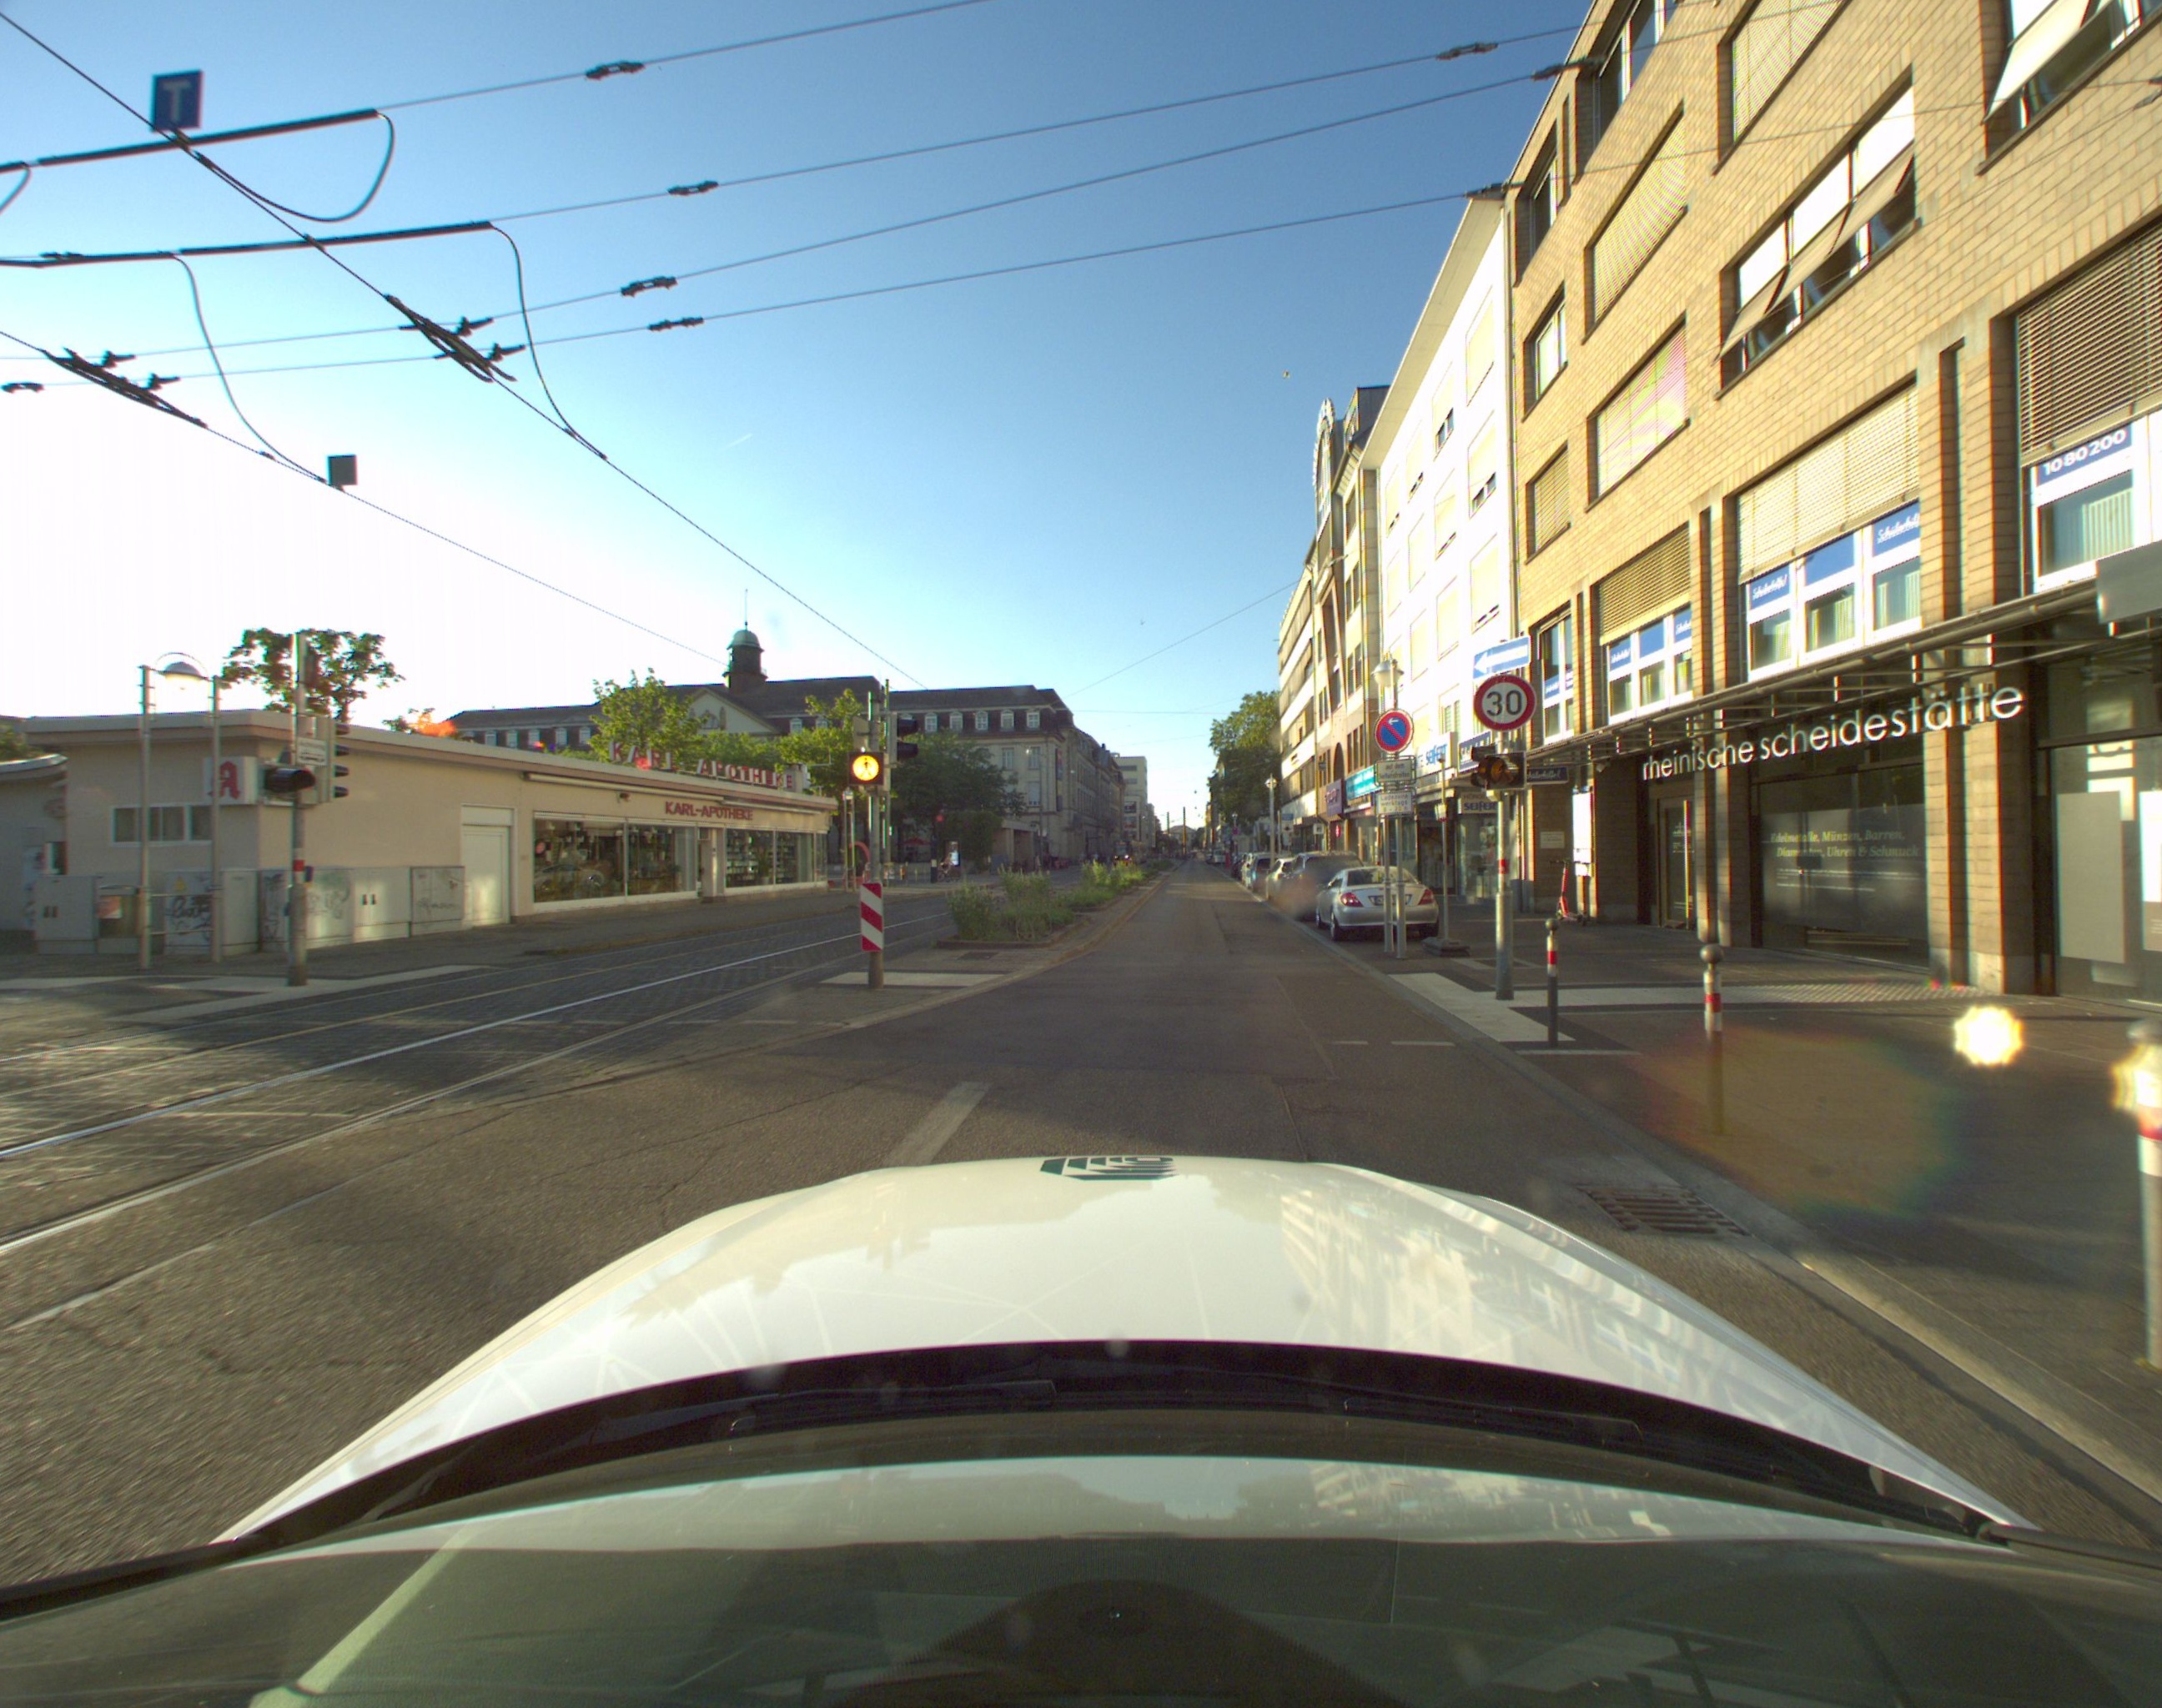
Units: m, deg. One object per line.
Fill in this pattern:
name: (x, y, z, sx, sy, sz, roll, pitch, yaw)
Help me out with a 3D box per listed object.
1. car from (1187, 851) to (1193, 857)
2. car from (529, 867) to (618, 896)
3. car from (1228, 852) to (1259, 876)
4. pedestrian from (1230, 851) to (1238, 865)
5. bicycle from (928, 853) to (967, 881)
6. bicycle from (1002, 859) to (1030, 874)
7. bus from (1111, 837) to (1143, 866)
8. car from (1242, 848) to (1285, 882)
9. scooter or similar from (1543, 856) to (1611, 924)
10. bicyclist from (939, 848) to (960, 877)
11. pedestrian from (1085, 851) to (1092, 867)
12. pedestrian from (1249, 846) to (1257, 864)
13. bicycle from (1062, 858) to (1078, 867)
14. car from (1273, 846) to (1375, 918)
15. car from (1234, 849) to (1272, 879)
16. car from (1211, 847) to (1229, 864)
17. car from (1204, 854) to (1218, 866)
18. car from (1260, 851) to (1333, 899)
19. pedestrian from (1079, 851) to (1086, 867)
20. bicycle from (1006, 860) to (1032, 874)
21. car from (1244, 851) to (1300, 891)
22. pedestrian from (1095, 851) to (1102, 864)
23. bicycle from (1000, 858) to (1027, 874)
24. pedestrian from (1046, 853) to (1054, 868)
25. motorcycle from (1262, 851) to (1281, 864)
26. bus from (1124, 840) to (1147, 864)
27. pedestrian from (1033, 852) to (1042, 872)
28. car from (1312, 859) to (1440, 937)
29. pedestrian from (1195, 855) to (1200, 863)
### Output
car: (31.967, 0.037, 238.819, 1.751, 1.827, 3.577, -1, -2, 8)
car: (-29.378, 1.570, 47.336, 1.788, 1.565, 4.691, -1, -2, 8)
car: (10.719, 0.630, 54.050, 1.646, 1.380, 4.350, -4, -1, 7)
pedestrian: (19.844, 0.479, 105.589, 0.784, 1.751, 0.895, -1, -2, 1)
bicycle: (-8.368, 0.787, 51.101, 2.378, 1.740, 0.596, 0, 0, -36)
bicycle: (-5.551, 1.101, 69.448, 2.229, 1.255, 0.581, -1, -2, 7)
bus: (6.515, -0.300, 111.951, 2.806, 3.651, 17.112, -1, 0, 8)
car: (9.155, 0.528, 41.092, 1.806, 1.585, 4.735, -1, 0, 9)
scooter or similar: (9.158, 0.635, 15.090, 0.457, 1.183, 1.575, -1, 0, 7)
bicyclist: (-8.280, 0.542, 51.205, 0.936, 1.776, 0.960, -1, 0, -36)
pedestrian: (0.894, 0.560, 93.878, 0.729, 1.840, 0.716, -1, -2, 8)
pedestrian: (16.306, 0.108, 77.043, 0.674, 1.717, 0.656, -1, -2, 10)
bicycle: (-1.451, 1.133, 106.299, 2.088, 1.148, 0.575, -1, -2, 3)
car: (5.949, 0.632, 20.399, 1.755, 1.605, 4.296, -1, 0, 7)
car: (9.852, 0.533, 46.931, 1.766, 1.538, 4.588, -1, 1, 8)
car: (16.842, 0.231, 98.707, 1.904, 1.981, 4.431, -1, -1, 8)
car: (19.748, 0.959, 123.477, 1.982, 1.761, 4.430, -1, -1, 8)
car: (7.038, 0.696, 26.965, 1.721, 1.435, 4.159, -1, -1, 6)
pedestrian: (0.133, 0.589, 93.855, 0.689, 1.847, 0.663, -1, -2, 8)
bicycle: (-5.412, 1.127, 71.119, 2.229, 1.232, 0.586, -1, -1, 7)
car: (8.091, 0.686, 34.876, 1.799, 1.552, 4.846, -1, 0, 7)
pedestrian: (2.303, 0.476, 108.052, 0.810, 1.707, 0.763, -1, -2, 8)
bicycle: (-5.644, 1.036, 67.917, 2.184, 1.300, 0.581, -1, -2, 7)
pedestrian: (-3.398, 0.702, 89.947, 0.715, 1.646, 0.657, 0, -1, -14)
motorcycle: (17.518, 0.329, 75.006, 0.566, 1.145, 2.282, 0, 0, -18)
bus: (8.356, -0.335, 124.524, 2.806, 3.624, 8.309, -1, 0, 8)
pedestrian: (-4.142, 0.768, 77.669, 0.719, 1.934, 0.795, -1, -2, 11)
car: (5.512, 0.761, 15.681, 1.663, 1.282, 4.075, -1, -1, 11)
pedestrian: (30.546, 1.316, 213.286, 1.228, 1.928, 1.019, 0, 0, -8)
